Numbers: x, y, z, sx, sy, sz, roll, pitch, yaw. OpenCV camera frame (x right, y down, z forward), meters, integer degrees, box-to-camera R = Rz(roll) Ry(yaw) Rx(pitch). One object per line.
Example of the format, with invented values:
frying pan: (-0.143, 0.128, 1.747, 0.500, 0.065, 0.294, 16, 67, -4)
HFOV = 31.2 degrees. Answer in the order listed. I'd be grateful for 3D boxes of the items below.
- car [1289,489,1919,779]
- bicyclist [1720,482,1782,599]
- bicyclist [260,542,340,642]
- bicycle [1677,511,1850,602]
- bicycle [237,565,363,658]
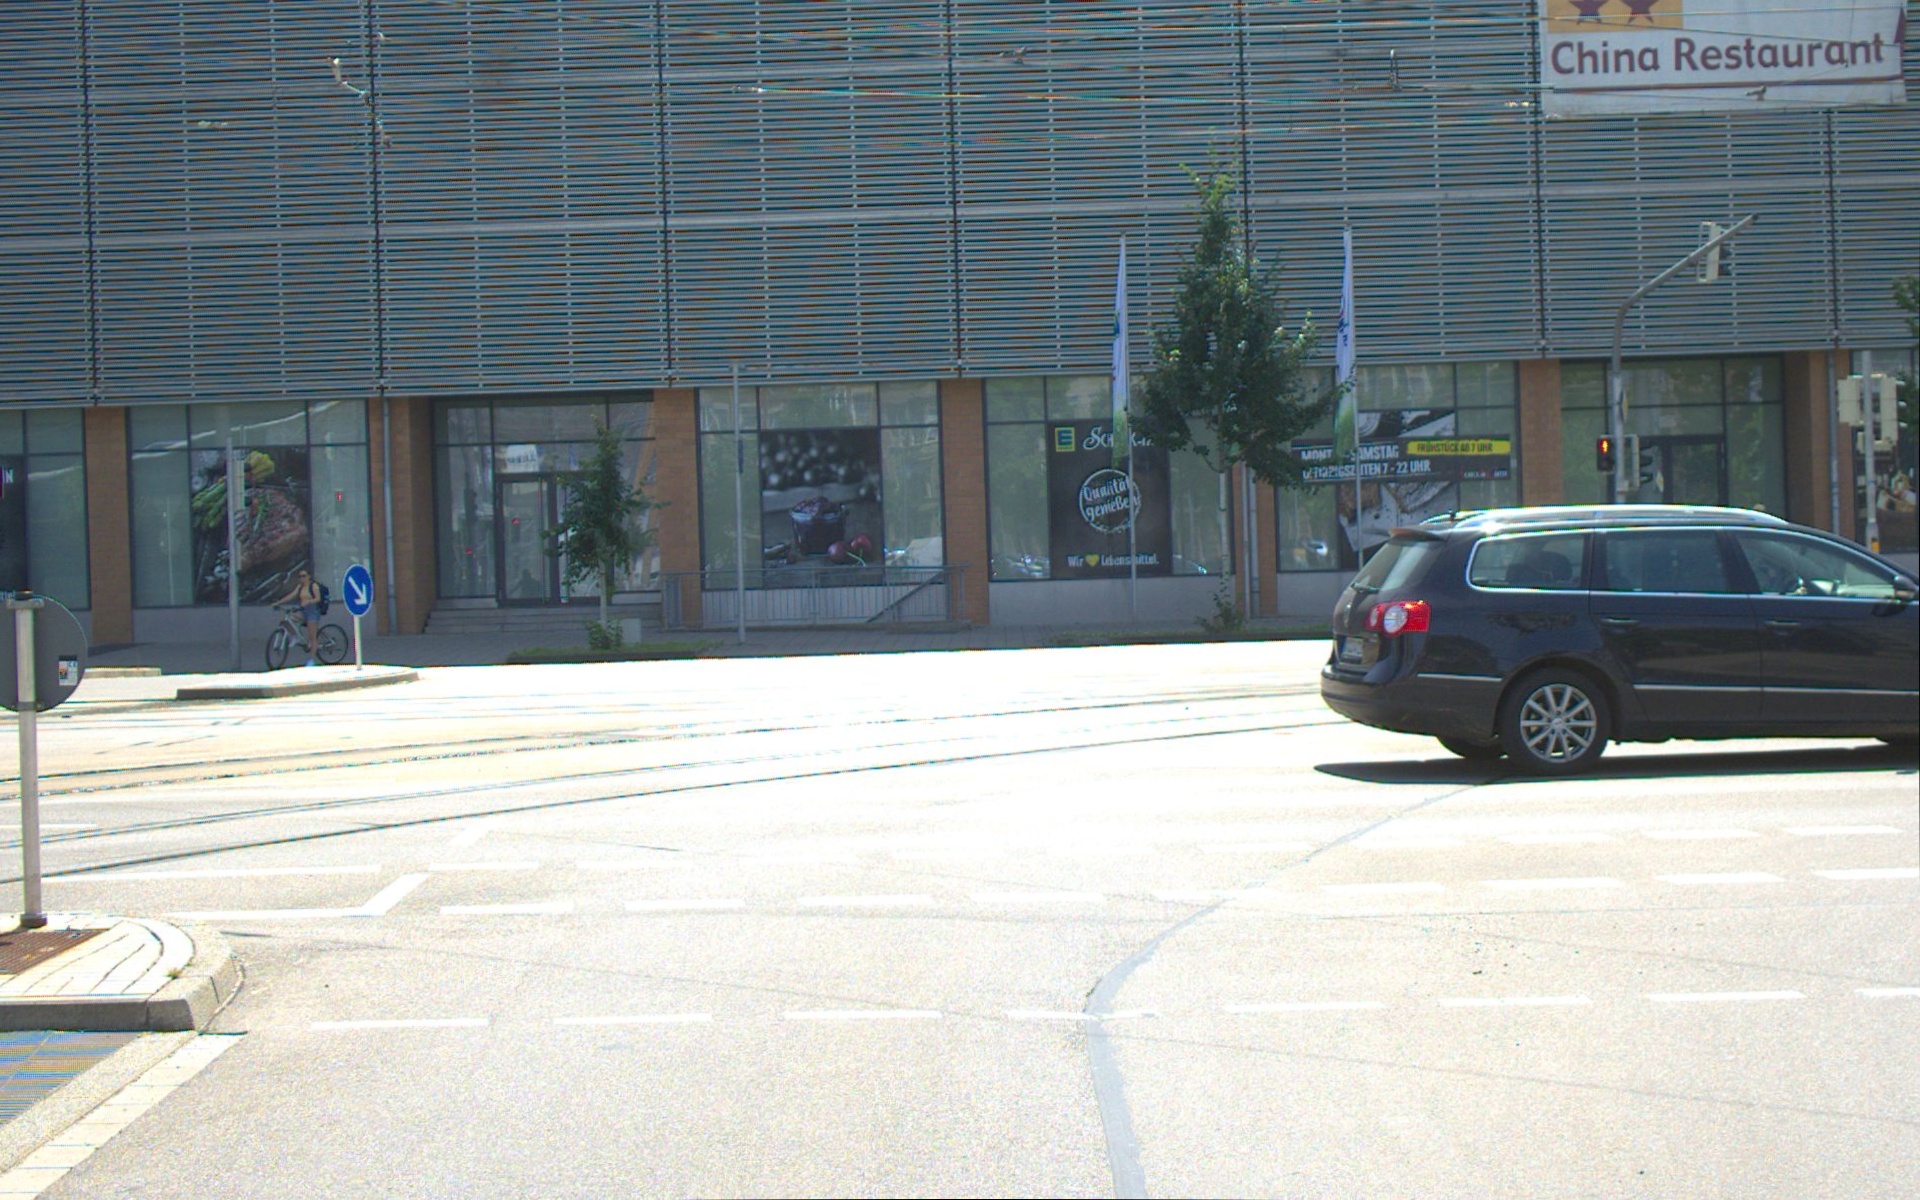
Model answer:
car: (4.537, 0.148, 20.305, 4.854, 1.575, 2.001, -1, 2, -5)
bicyclist: (13.772, -1.040, 59.849, 0.912, 2.006, 0.748, -1, 1, 2)
bicyclist: (-10.567, -0.133, 55.045, 1.040, 1.566, 0.777, 0, 2, 7)
bicycle: (13.986, -0.757, 59.856, 2.849, 1.552, 0.704, -1, 1, 3)
bicycle: (-10.555, 0.165, 55.120, 1.062, 1.385, 3.023, 0, 2, 7)
